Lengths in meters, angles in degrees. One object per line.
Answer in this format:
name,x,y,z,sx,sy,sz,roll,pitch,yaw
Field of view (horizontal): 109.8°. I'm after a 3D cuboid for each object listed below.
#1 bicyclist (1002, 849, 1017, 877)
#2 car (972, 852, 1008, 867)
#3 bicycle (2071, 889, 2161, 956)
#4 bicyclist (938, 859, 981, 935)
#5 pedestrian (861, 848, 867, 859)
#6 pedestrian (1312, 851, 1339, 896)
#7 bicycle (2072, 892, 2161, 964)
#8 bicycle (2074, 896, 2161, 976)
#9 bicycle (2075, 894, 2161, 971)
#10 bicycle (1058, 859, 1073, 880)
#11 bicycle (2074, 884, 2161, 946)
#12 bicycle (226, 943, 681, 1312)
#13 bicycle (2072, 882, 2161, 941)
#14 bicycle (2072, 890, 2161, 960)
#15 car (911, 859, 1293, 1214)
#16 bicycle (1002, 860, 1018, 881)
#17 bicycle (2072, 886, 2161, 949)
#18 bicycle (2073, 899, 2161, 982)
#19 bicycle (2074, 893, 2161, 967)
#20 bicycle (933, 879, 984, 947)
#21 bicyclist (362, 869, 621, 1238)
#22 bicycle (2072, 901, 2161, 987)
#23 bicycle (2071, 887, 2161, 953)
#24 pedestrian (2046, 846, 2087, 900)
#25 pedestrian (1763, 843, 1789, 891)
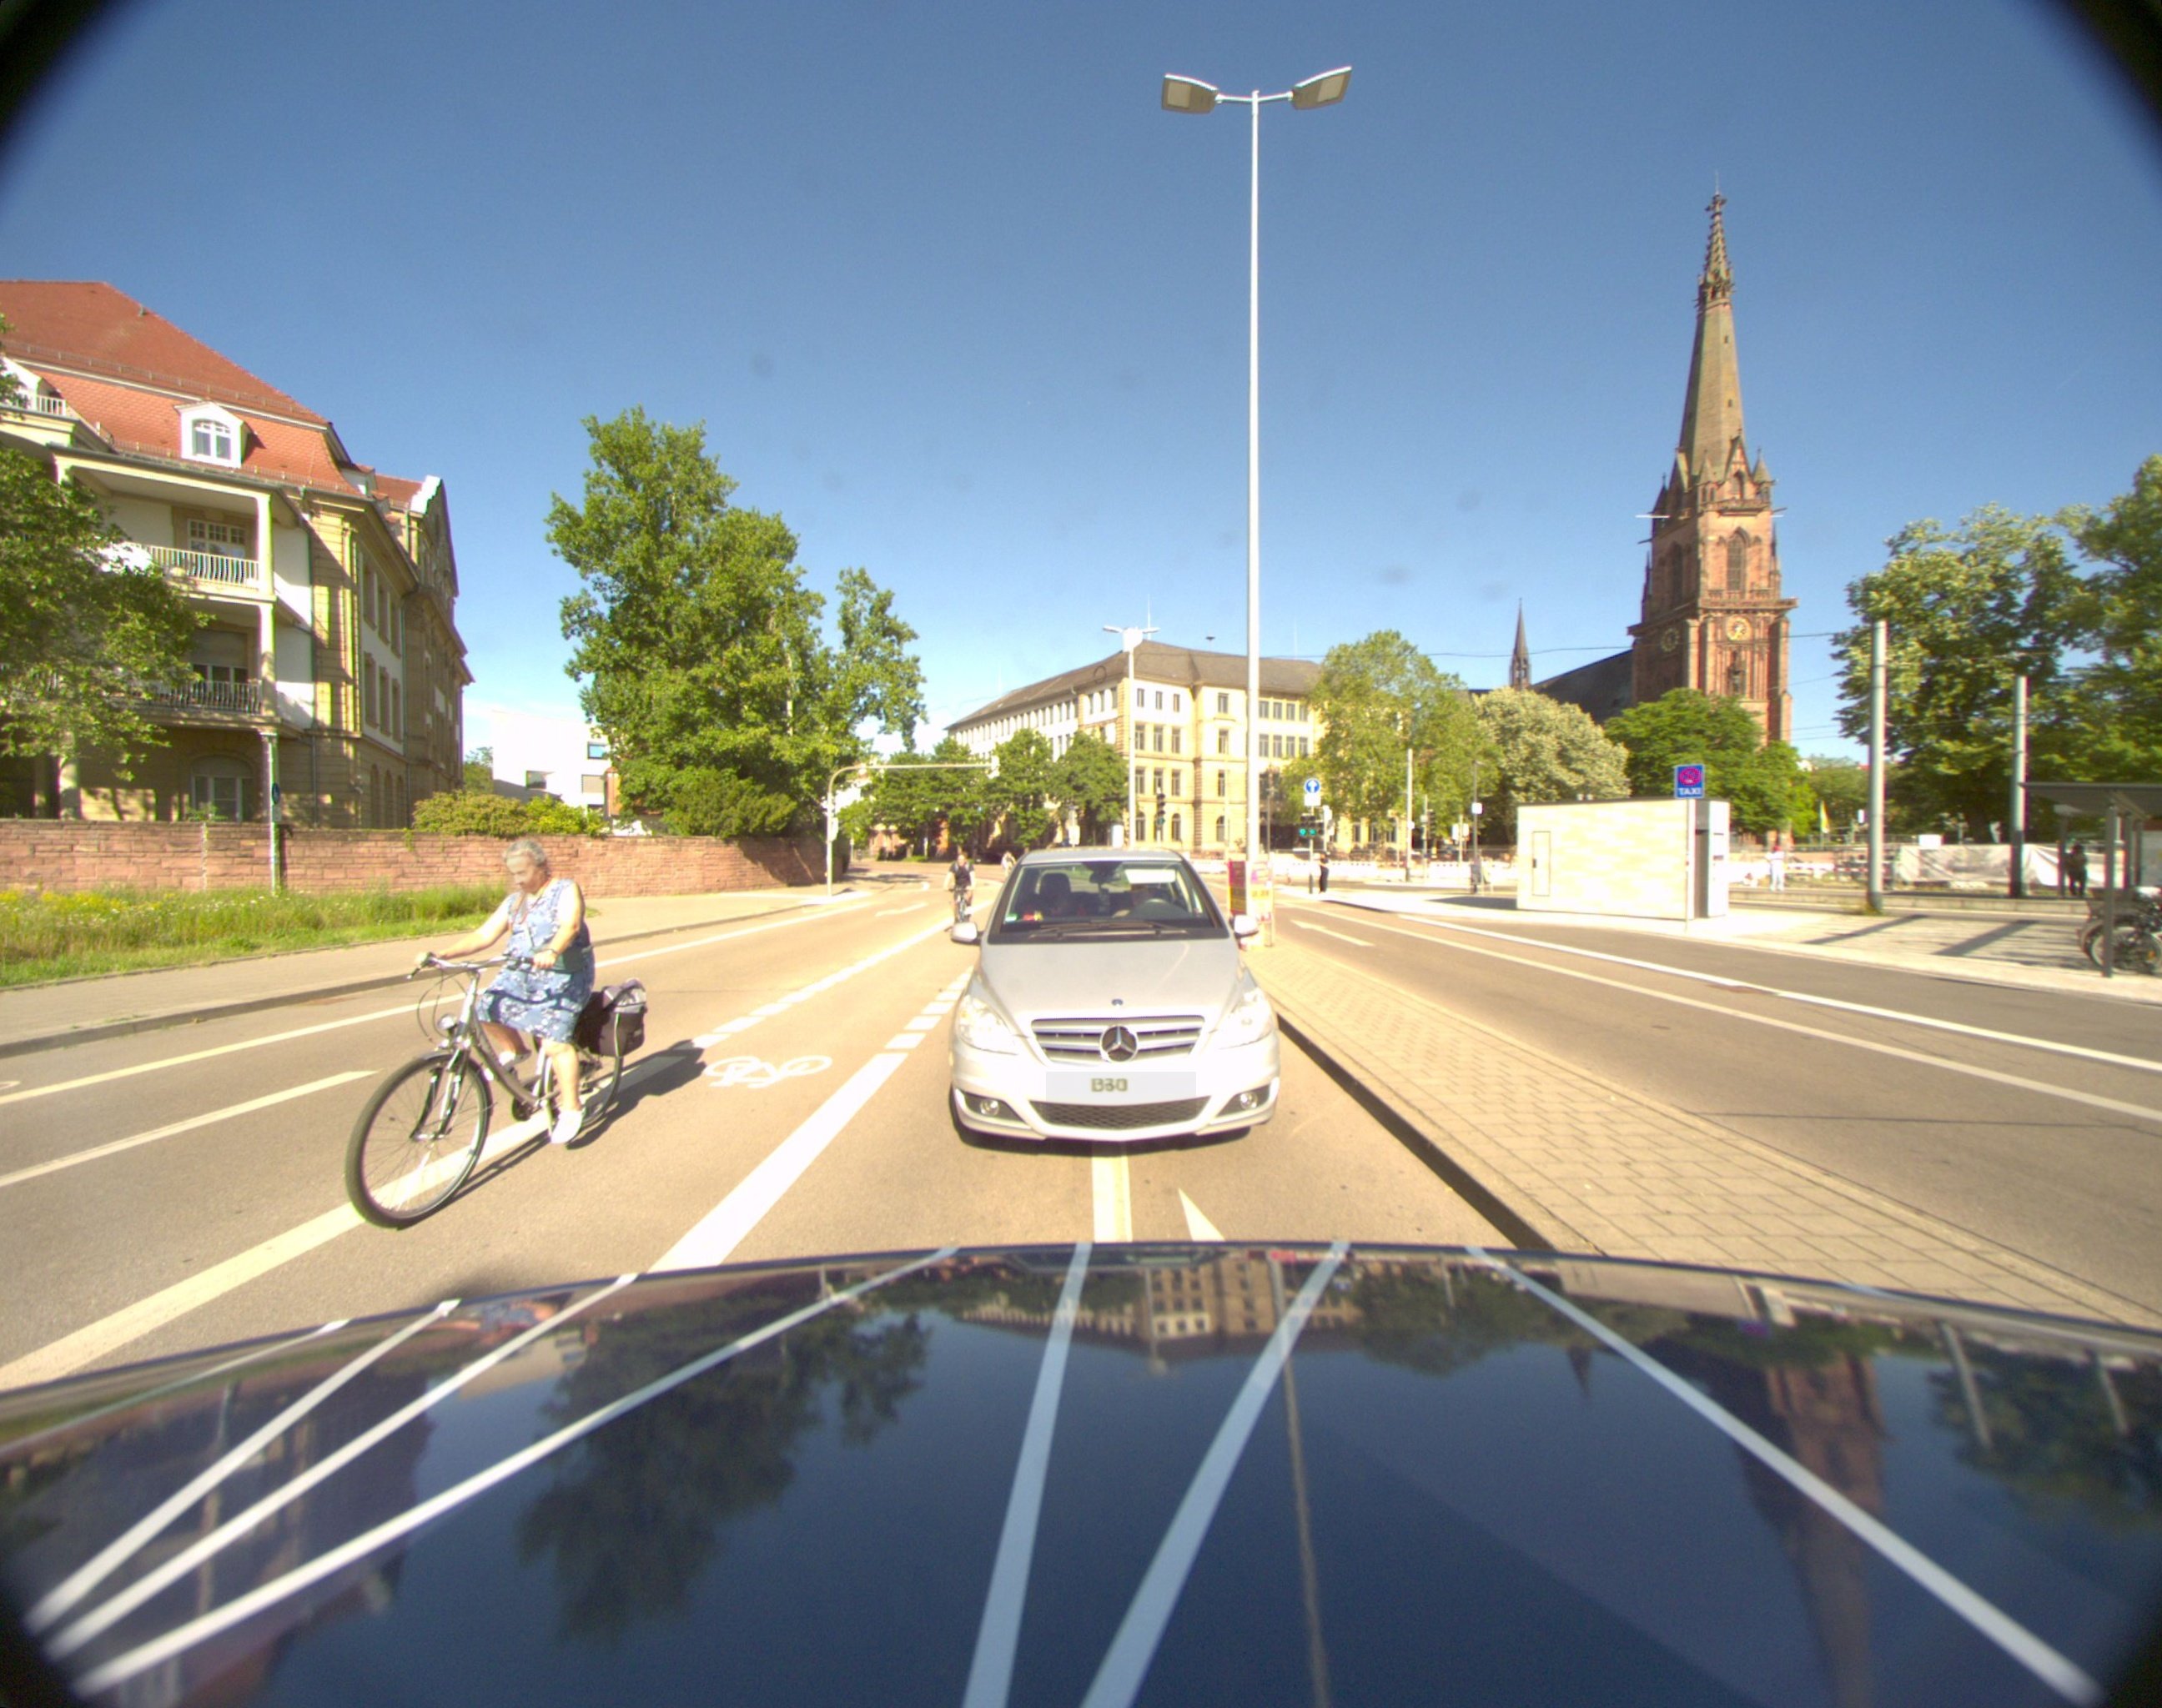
bicyclist,-4.039,0.520,43.207,0.778,1.543,0.919,-1,1,-2
car,-10.812,0.636,90.494,1.994,1.805,3.809,1,1,44
bicycle,17.692,1.139,12.431,0.569,1.032,1.783,1,1,-37
bicyclist,-2.367,0.822,14.898,0.643,1.436,0.953,-1,0,1
pedestrian,-32.038,-0.115,112.368,0.637,1.602,0.844,-3,1,-28
pedestrian,9.278,0.741,28.880,0.789,1.671,0.648,-2,1,2
bicycle,16.675,1.159,11.644,0.569,1.032,1.783,1,1,-37
bicycle,15.145,1.162,10.448,0.569,1.032,1.783,1,1,-37
bicycle,15.699,1.150,10.861,0.569,1.032,1.783,1,1,-37
bicycle,-0.893,0.882,44.568,0.778,1.158,1.968,-1,1,1
bicycle,19.134,1.104,13.503,0.569,1.032,1.783,1,1,-37
bicycle,-2.906,1.162,3.879,0.642,1.158,1.968,-1,1,1
bicycle,20.124,1.093,14.279,0.569,1.032,1.783,1,1,-37
bicycle,17.167,1.150,12.019,0.569,1.032,1.783,1,1,-37
car,0.148,0.875,5.880,1.770,1.584,4.638,-1,1,1
bicycle,-4.034,0.923,43.187,0.778,1.158,1.967,-1,1,-2
bicycle,18.649,1.116,13.158,0.569,1.032,1.783,1,1,-37
bicycle,14.541,1.168,9.989,0.569,1.032,1.783,1,1,-37
bicycle,16.196,1.149,11.253,0.569,1.032,1.783,1,1,-37
bicycle,-2.363,1.113,14.845,0.642,1.158,1.870,-1,0,1
bicyclist,-2.910,0.920,3.838,0.643,1.653,0.776,-1,2,0
bicycle,14.017,1.178,9.599,0.569,1.032,1.783,1,1,-37
bicycle,18.165,1.127,12.796,0.569,1.032,1.783,1,1,-37
pedestrian,30.673,0.574,23.652,0.567,1.645,0.518,-2,1,1
pedestrian,25.144,0.484,27.500,0.537,1.712,0.684,-1,-4,31
